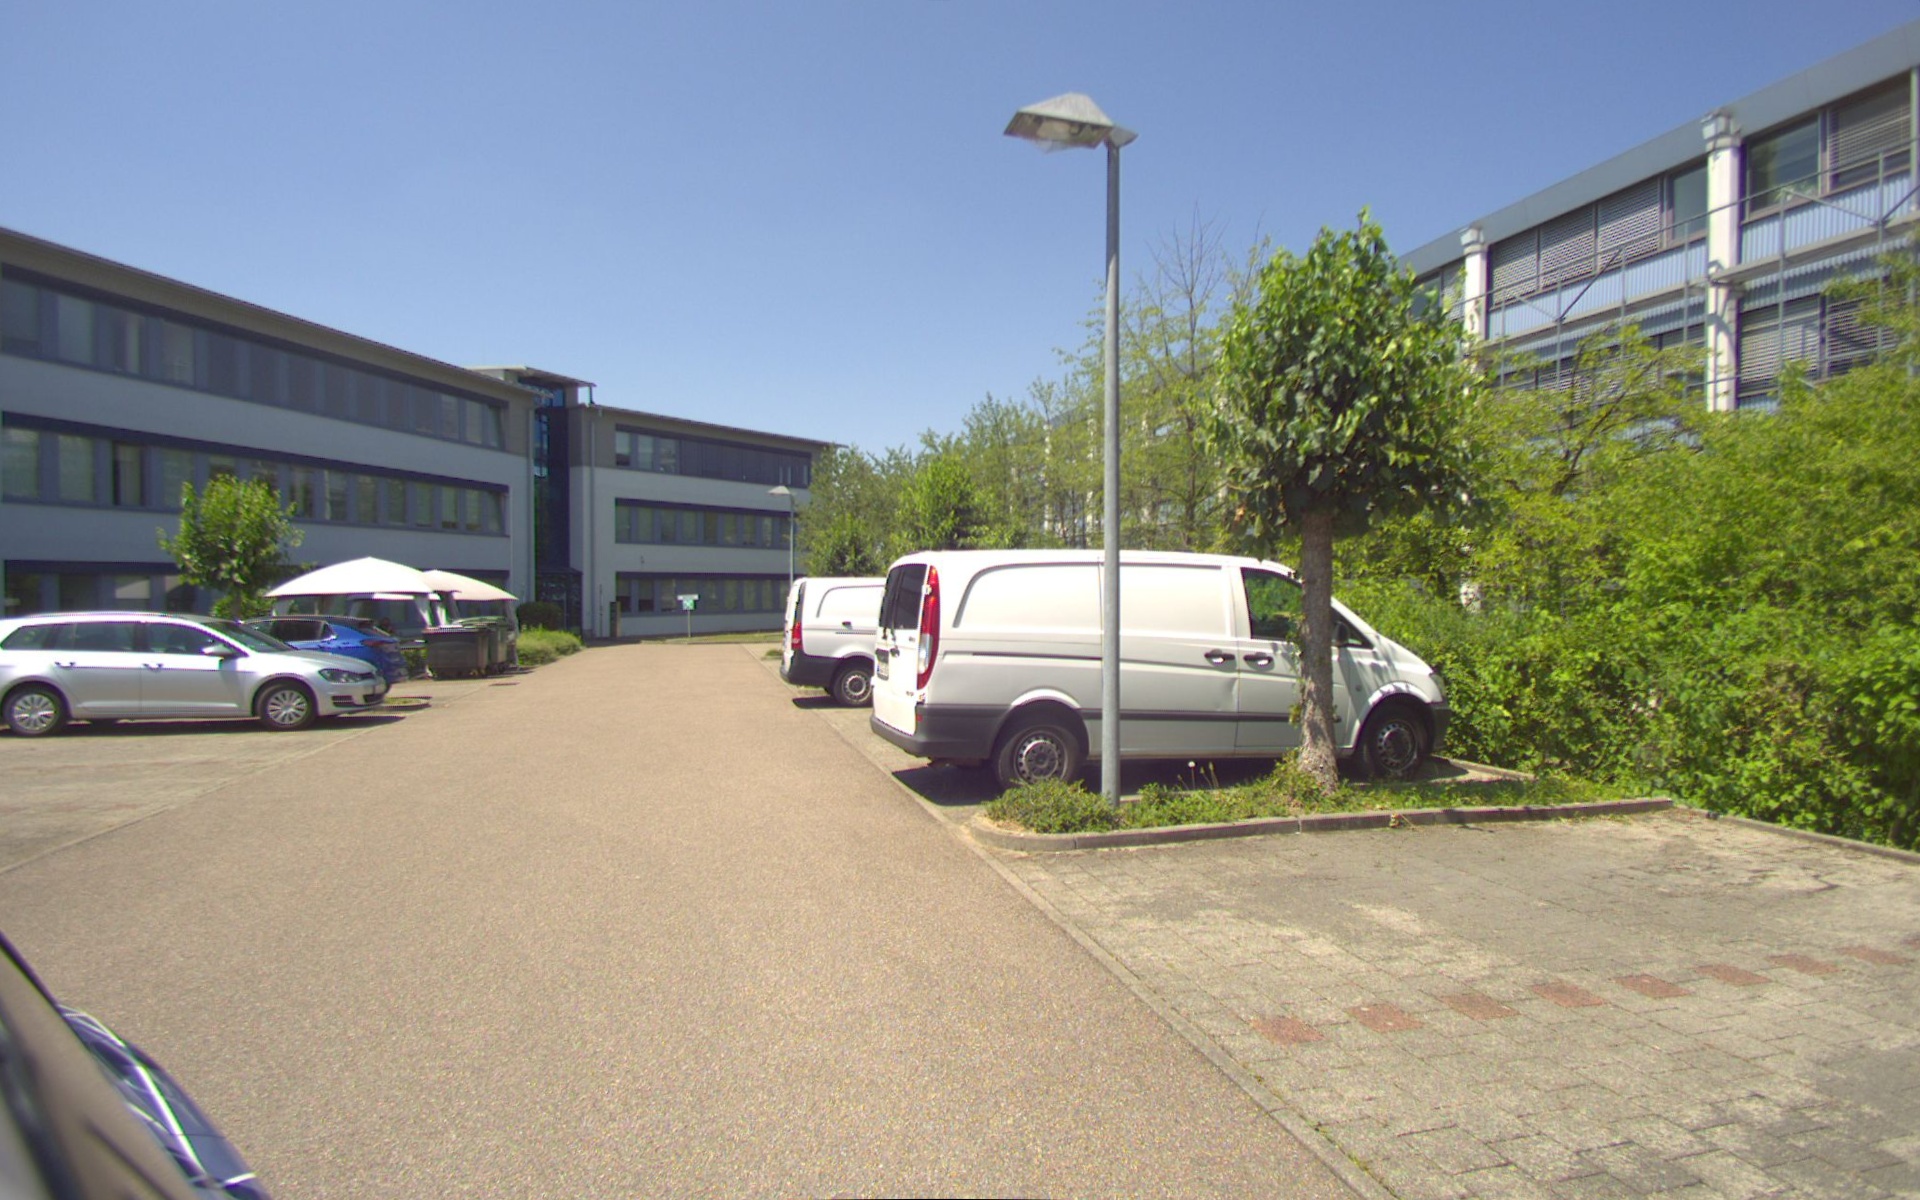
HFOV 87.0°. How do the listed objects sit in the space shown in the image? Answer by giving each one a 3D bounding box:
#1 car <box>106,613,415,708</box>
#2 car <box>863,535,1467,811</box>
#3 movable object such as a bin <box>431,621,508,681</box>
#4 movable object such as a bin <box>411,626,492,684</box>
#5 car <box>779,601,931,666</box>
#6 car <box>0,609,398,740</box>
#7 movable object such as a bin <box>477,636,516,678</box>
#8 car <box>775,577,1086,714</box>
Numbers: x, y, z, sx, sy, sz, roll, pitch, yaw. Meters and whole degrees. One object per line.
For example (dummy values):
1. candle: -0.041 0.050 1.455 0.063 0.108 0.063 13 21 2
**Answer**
1. car: -11.114 0.950 16.382 3.762 1.402 1.657 1 -1 -16
2. car: 1.660 0.503 8.561 4.655 1.920 1.835 0 -1 -16
3. movable object such as a bin: -11.124 1.141 23.014 1.342 1.306 1.045 0 -1 -10
4. movable object such as a bin: -10.989 1.178 21.930 1.342 1.198 0.999 0 -1 -10
5. car: -2.781 0.844 26.498 3.701 1.569 1.666 0 -1 -16
6. car: -9.929 0.894 12.973 4.444 1.508 1.834 1 -1 -16
7. movable object such as a bin: -10.977 1.340 23.972 0.680 0.956 0.724 0 -1 -10
8. car: -0.502 0.626 15.563 4.444 1.896 1.834 0 -1 -16
